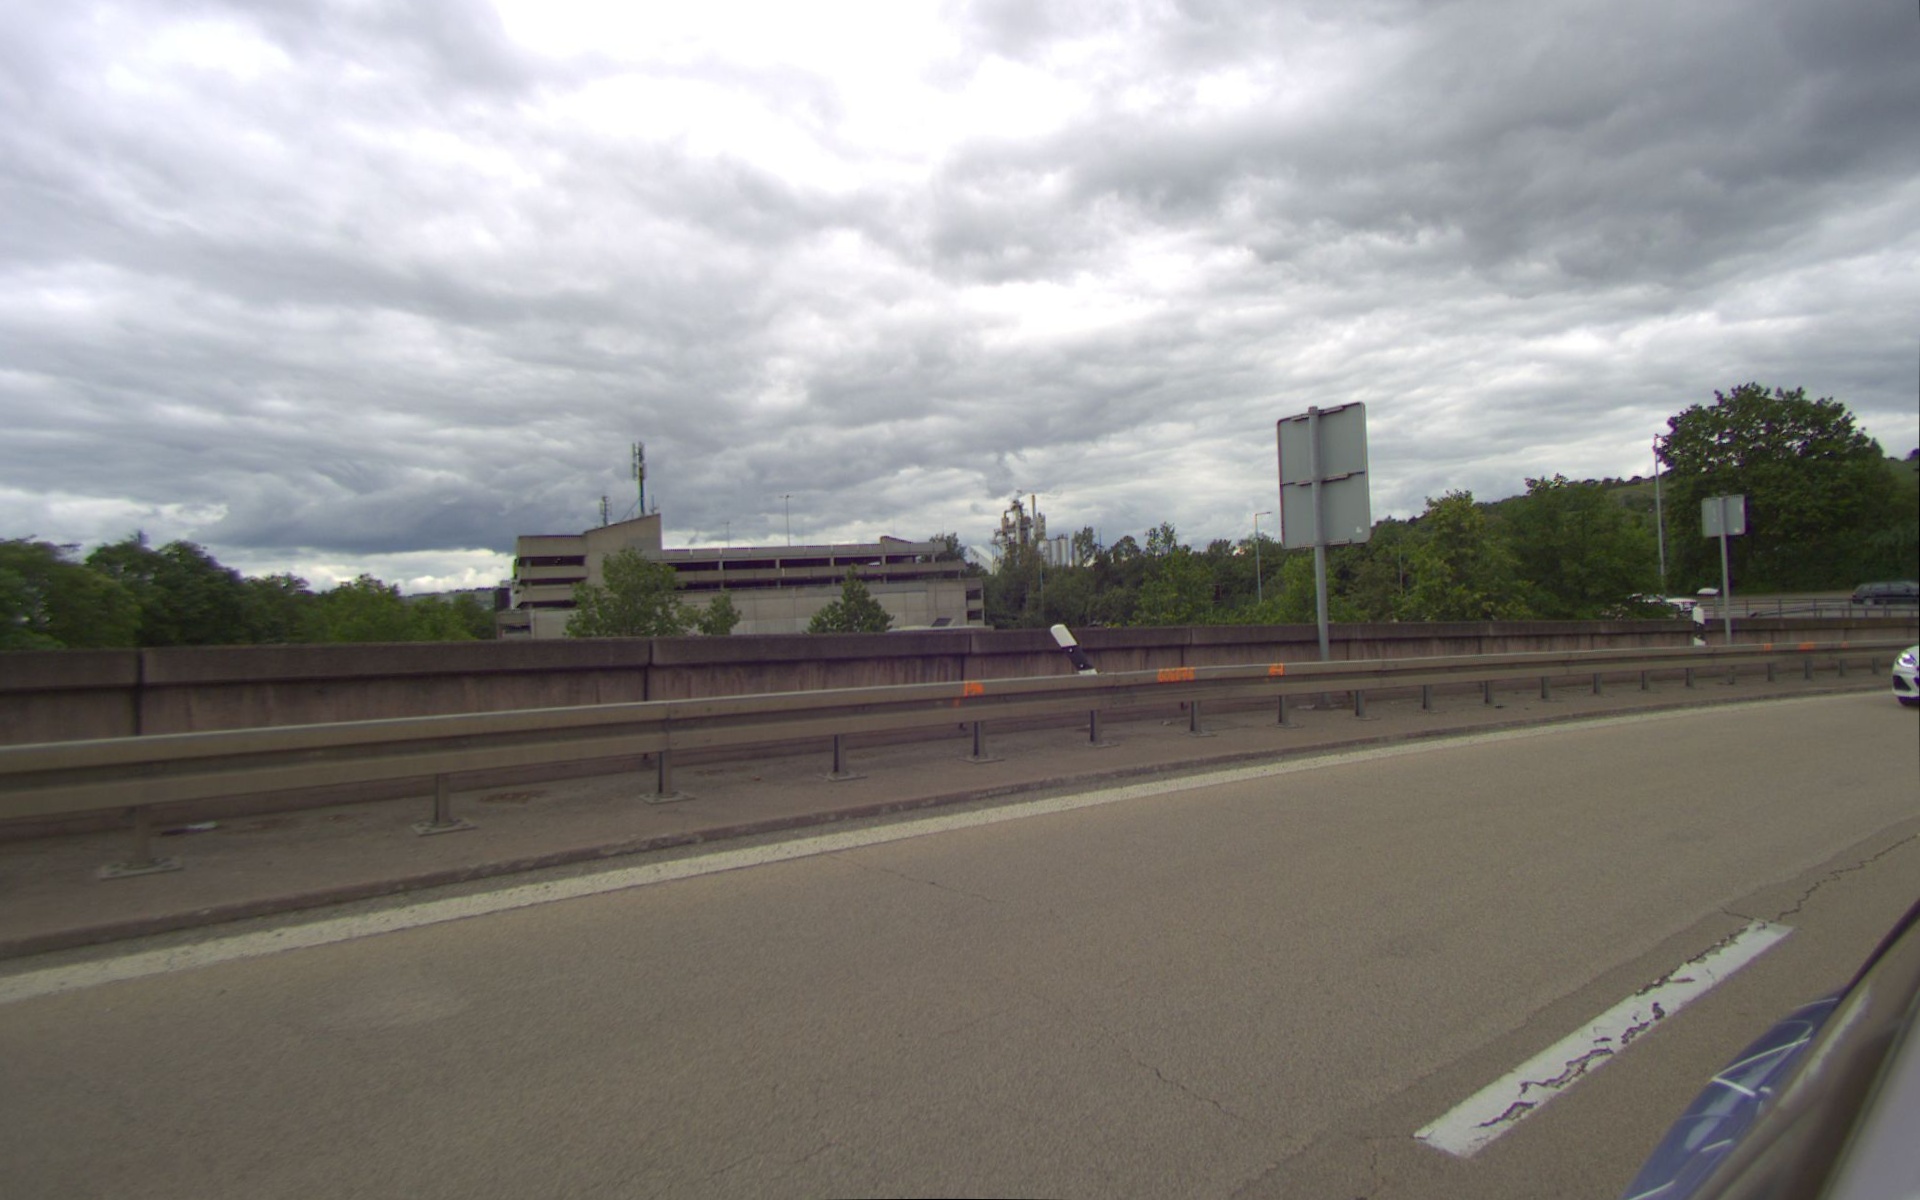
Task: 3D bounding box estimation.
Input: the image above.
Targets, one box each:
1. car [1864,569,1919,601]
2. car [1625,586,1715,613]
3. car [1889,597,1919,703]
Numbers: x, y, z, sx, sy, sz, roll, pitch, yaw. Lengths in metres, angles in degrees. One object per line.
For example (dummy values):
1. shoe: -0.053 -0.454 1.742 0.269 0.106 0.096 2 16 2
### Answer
1. car: 53.990 -0.907 56.852 1.908 1.576 4.302 -4 -1 -20
2. car: 49.093 -0.010 70.076 1.840 1.580 4.722 -4 -1 -24
3. car: 14.729 0.653 13.559 4.726 1.362 1.866 0 -1 -28
